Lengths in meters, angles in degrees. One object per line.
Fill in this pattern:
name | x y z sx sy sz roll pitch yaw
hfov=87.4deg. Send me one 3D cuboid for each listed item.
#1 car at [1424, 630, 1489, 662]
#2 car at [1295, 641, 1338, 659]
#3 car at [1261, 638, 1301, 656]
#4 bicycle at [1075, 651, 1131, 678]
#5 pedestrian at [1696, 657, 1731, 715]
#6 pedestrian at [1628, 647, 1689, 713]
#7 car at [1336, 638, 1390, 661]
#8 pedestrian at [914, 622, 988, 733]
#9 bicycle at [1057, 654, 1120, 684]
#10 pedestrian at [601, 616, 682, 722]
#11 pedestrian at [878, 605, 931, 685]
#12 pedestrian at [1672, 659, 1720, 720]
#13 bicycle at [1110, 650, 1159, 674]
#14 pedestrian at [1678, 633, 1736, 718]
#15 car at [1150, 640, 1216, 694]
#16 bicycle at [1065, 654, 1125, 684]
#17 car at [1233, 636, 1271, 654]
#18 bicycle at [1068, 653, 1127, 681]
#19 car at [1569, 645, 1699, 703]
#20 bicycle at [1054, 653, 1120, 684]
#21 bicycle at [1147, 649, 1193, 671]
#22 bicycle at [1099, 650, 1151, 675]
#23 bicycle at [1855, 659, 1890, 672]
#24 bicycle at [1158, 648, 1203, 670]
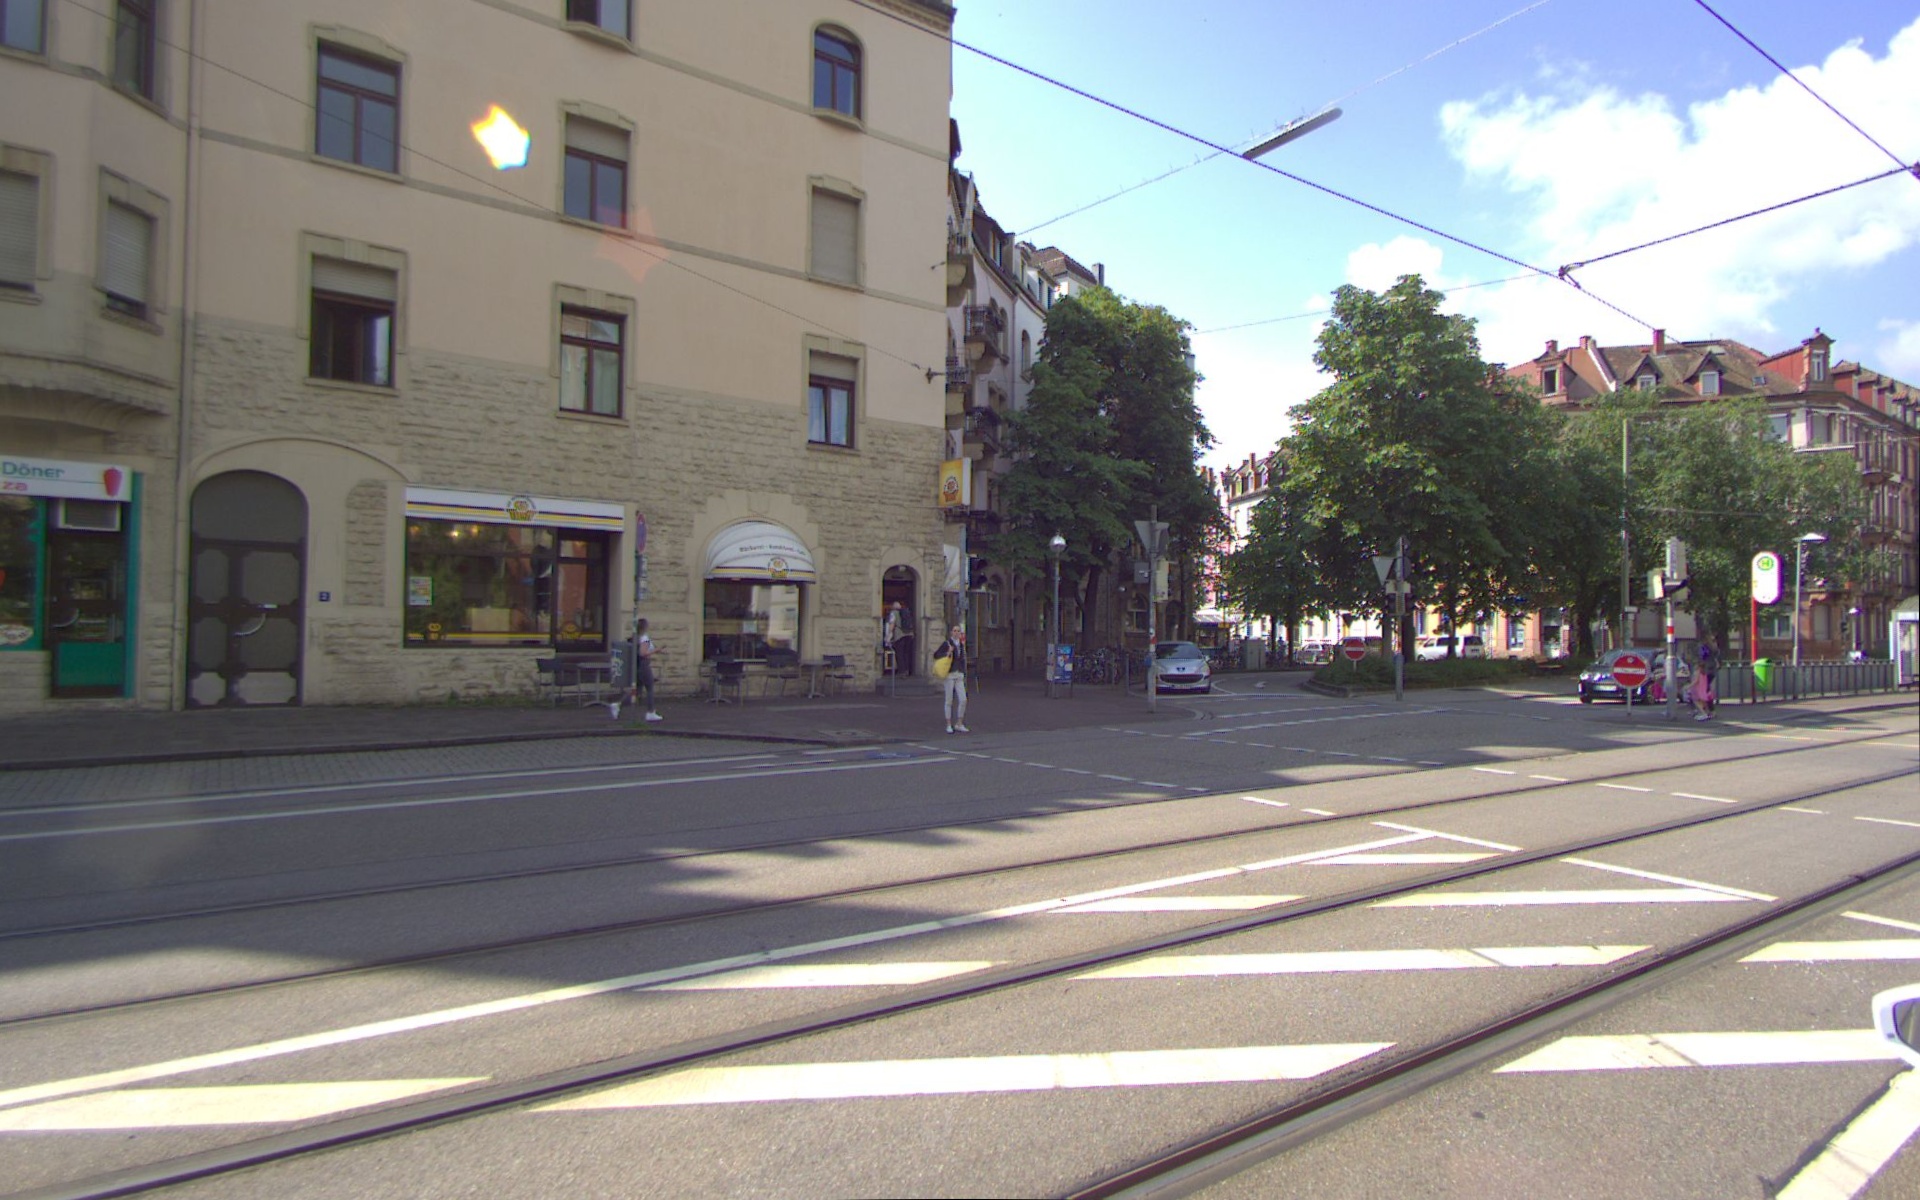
car | 32.060 2.942 64.949 1.823 2.015 3.941 1 -2 -10
car | 28.325 3.959 79.966 1.468 1.411 3.686 1 -2 -13
car | 27.200 3.977 85.318 1.602 1.513 3.638 1 -2 -13
bicycle | 5.295 2.388 37.192 1.990 0.894 0.547 2 -2 12
pedestrian | 14.909 1.688 19.874 0.420 1.122 0.434 2 -4 -38
pedestrian | 14.373 1.644 20.671 0.711 1.320 0.819 2 -4 -38
car | 29.925 3.661 74.663 1.882 1.685 3.933 1 -2 -11
pedestrian | -0.149 1.250 16.494 0.865 1.727 0.751 2 2 -35
bicycle | 4.236 2.267 33.016 1.990 0.894 0.512 2 -2 12
pedestrian | -5.039 1.063 15.897 0.685 1.562 0.958 4 2 41
pedestrian | -1.206 0.968 21.869 0.849 1.694 0.814 2 -2 -35
pedestrian | 14.007 1.687 19.123 0.440 1.128 0.636 2 -2 -38
bicycle | 7.412 2.613 42.687 1.992 0.910 0.572 1 -2 23
pedestrian | 14.456 1.441 19.435 0.792 1.586 0.722 2 -2 -39
car | 6.450 1.917 29.375 1.686 1.438 3.877 0 -2 9
bicycle | 4.597 2.339 34.201 1.990 0.894 0.512 2 -2 12
car | 26.156 4.023 90.027 1.687 1.575 3.912 1 -2 -12
bicycle | 4.865 2.365 35.528 1.990 0.894 0.512 2 -2 12
car | 17.521 1.889 26.092 3.400 1.405 1.615 2 -3 -34
bicycle | 4.000 2.150 31.687 1.990 0.894 0.523 2 -2 12
bicycle | 9.724 2.776 46.588 1.994 0.910 0.571 1 -2 29
bicycle | 6.826 2.572 41.570 1.992 0.910 0.546 1 -2 22
bicycle | 52.807 3.786 58.132 1.677 0.757 0.386 1 -2 2
bicycle | 10.358 2.772 47.236 1.994 0.910 0.571 1 -2 29
